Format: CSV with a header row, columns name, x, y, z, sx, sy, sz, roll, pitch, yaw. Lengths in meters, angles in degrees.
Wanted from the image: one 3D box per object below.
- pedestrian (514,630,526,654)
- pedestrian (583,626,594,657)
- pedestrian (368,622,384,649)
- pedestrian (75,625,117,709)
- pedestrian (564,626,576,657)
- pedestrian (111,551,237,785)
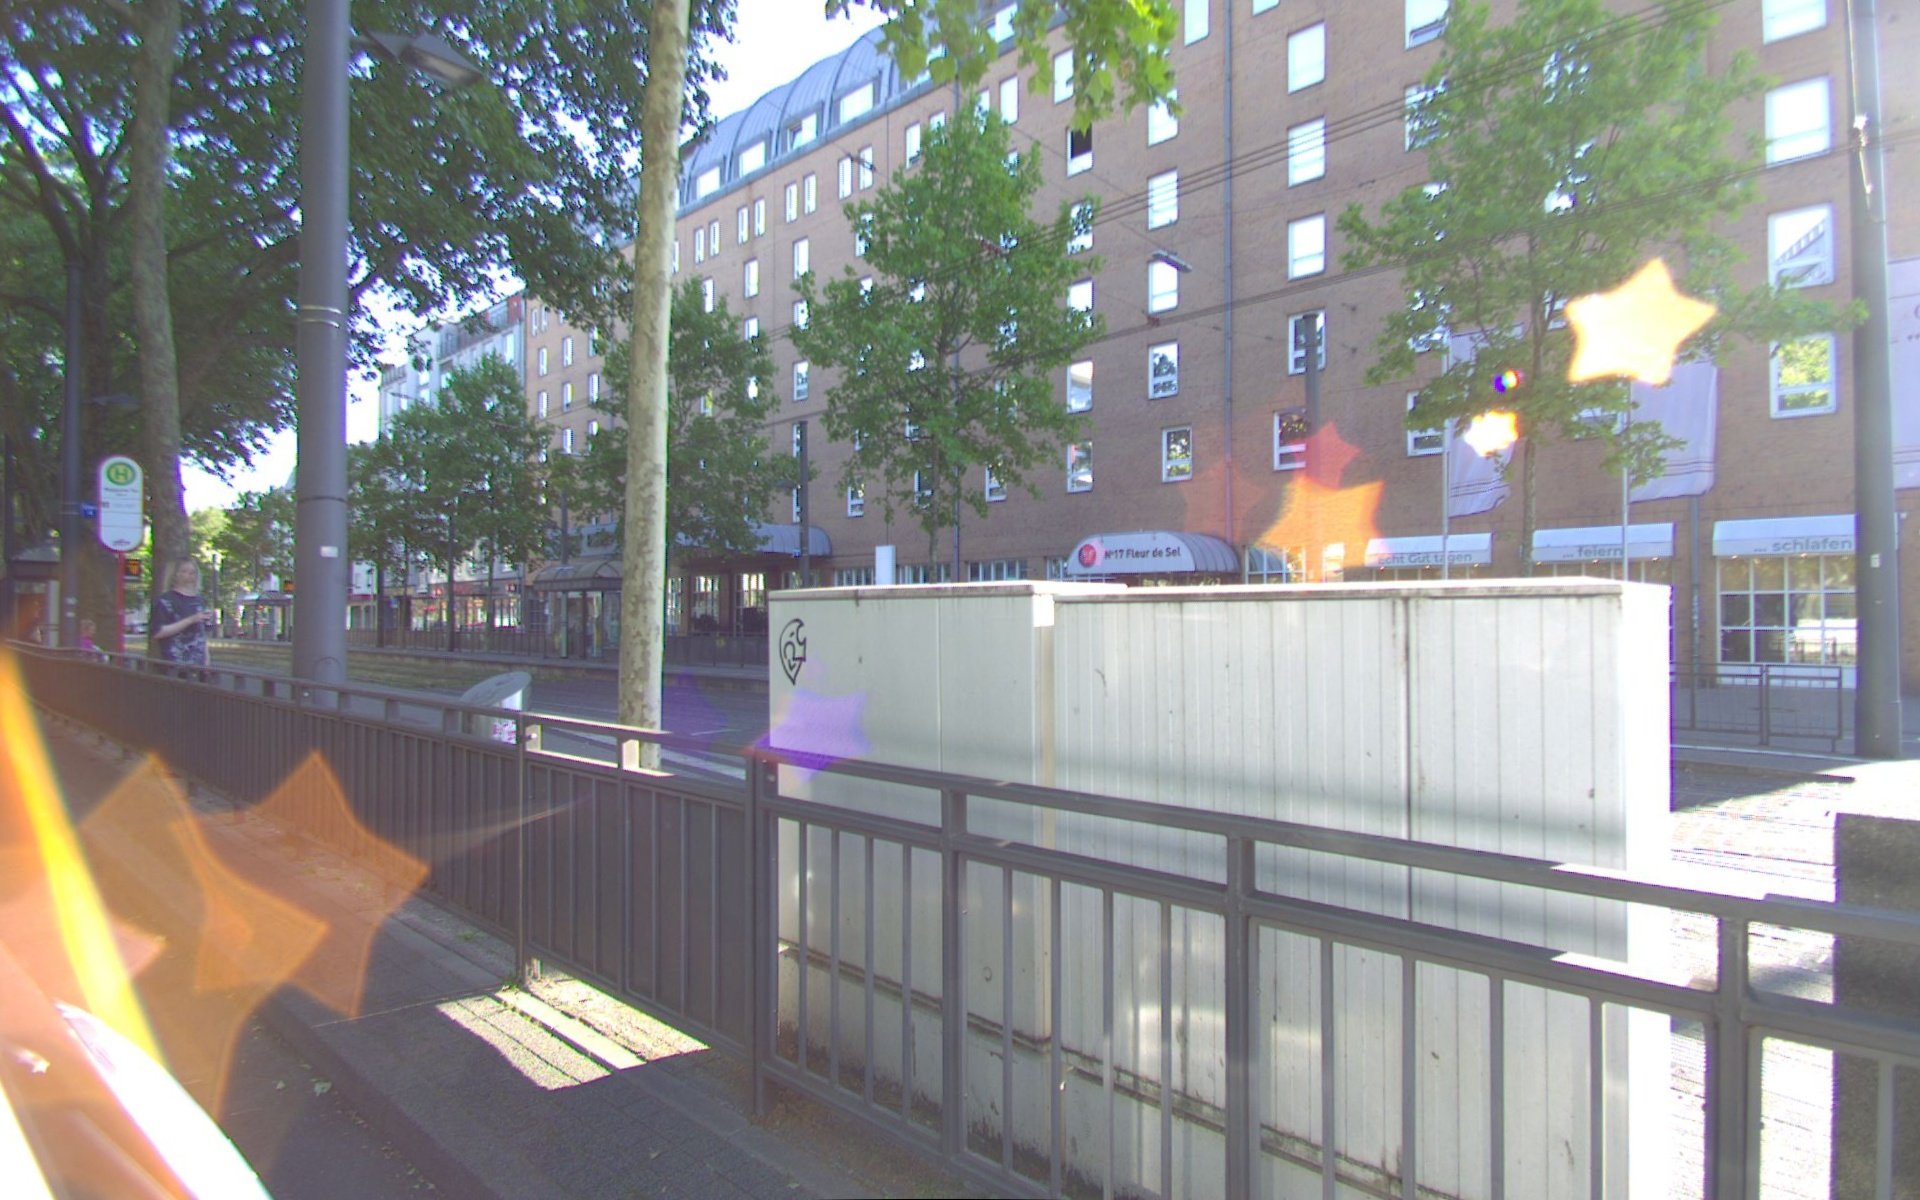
name,x,y,z,sx,sy,sz,roll,pitch,yaw
pedestrian,-27.712,2.634,63.688,0.516,1.447,0.512,-2,-2,44
pedestrian,-18.628,2.069,50.745,0.431,1.532,0.660,1,-2,-27
pedestrian,-45.244,2.748,78.414,0.763,2.029,0.796,-2,-2,41
pedestrian,-13.960,1.065,16.355,0.493,1.325,0.419,1,-2,-41
pedestrian,-19.384,2.050,50.295,0.431,1.518,0.660,1,-2,-27
pedestrian,-6.698,0.548,8.638,0.619,1.897,0.602,1,0,22
